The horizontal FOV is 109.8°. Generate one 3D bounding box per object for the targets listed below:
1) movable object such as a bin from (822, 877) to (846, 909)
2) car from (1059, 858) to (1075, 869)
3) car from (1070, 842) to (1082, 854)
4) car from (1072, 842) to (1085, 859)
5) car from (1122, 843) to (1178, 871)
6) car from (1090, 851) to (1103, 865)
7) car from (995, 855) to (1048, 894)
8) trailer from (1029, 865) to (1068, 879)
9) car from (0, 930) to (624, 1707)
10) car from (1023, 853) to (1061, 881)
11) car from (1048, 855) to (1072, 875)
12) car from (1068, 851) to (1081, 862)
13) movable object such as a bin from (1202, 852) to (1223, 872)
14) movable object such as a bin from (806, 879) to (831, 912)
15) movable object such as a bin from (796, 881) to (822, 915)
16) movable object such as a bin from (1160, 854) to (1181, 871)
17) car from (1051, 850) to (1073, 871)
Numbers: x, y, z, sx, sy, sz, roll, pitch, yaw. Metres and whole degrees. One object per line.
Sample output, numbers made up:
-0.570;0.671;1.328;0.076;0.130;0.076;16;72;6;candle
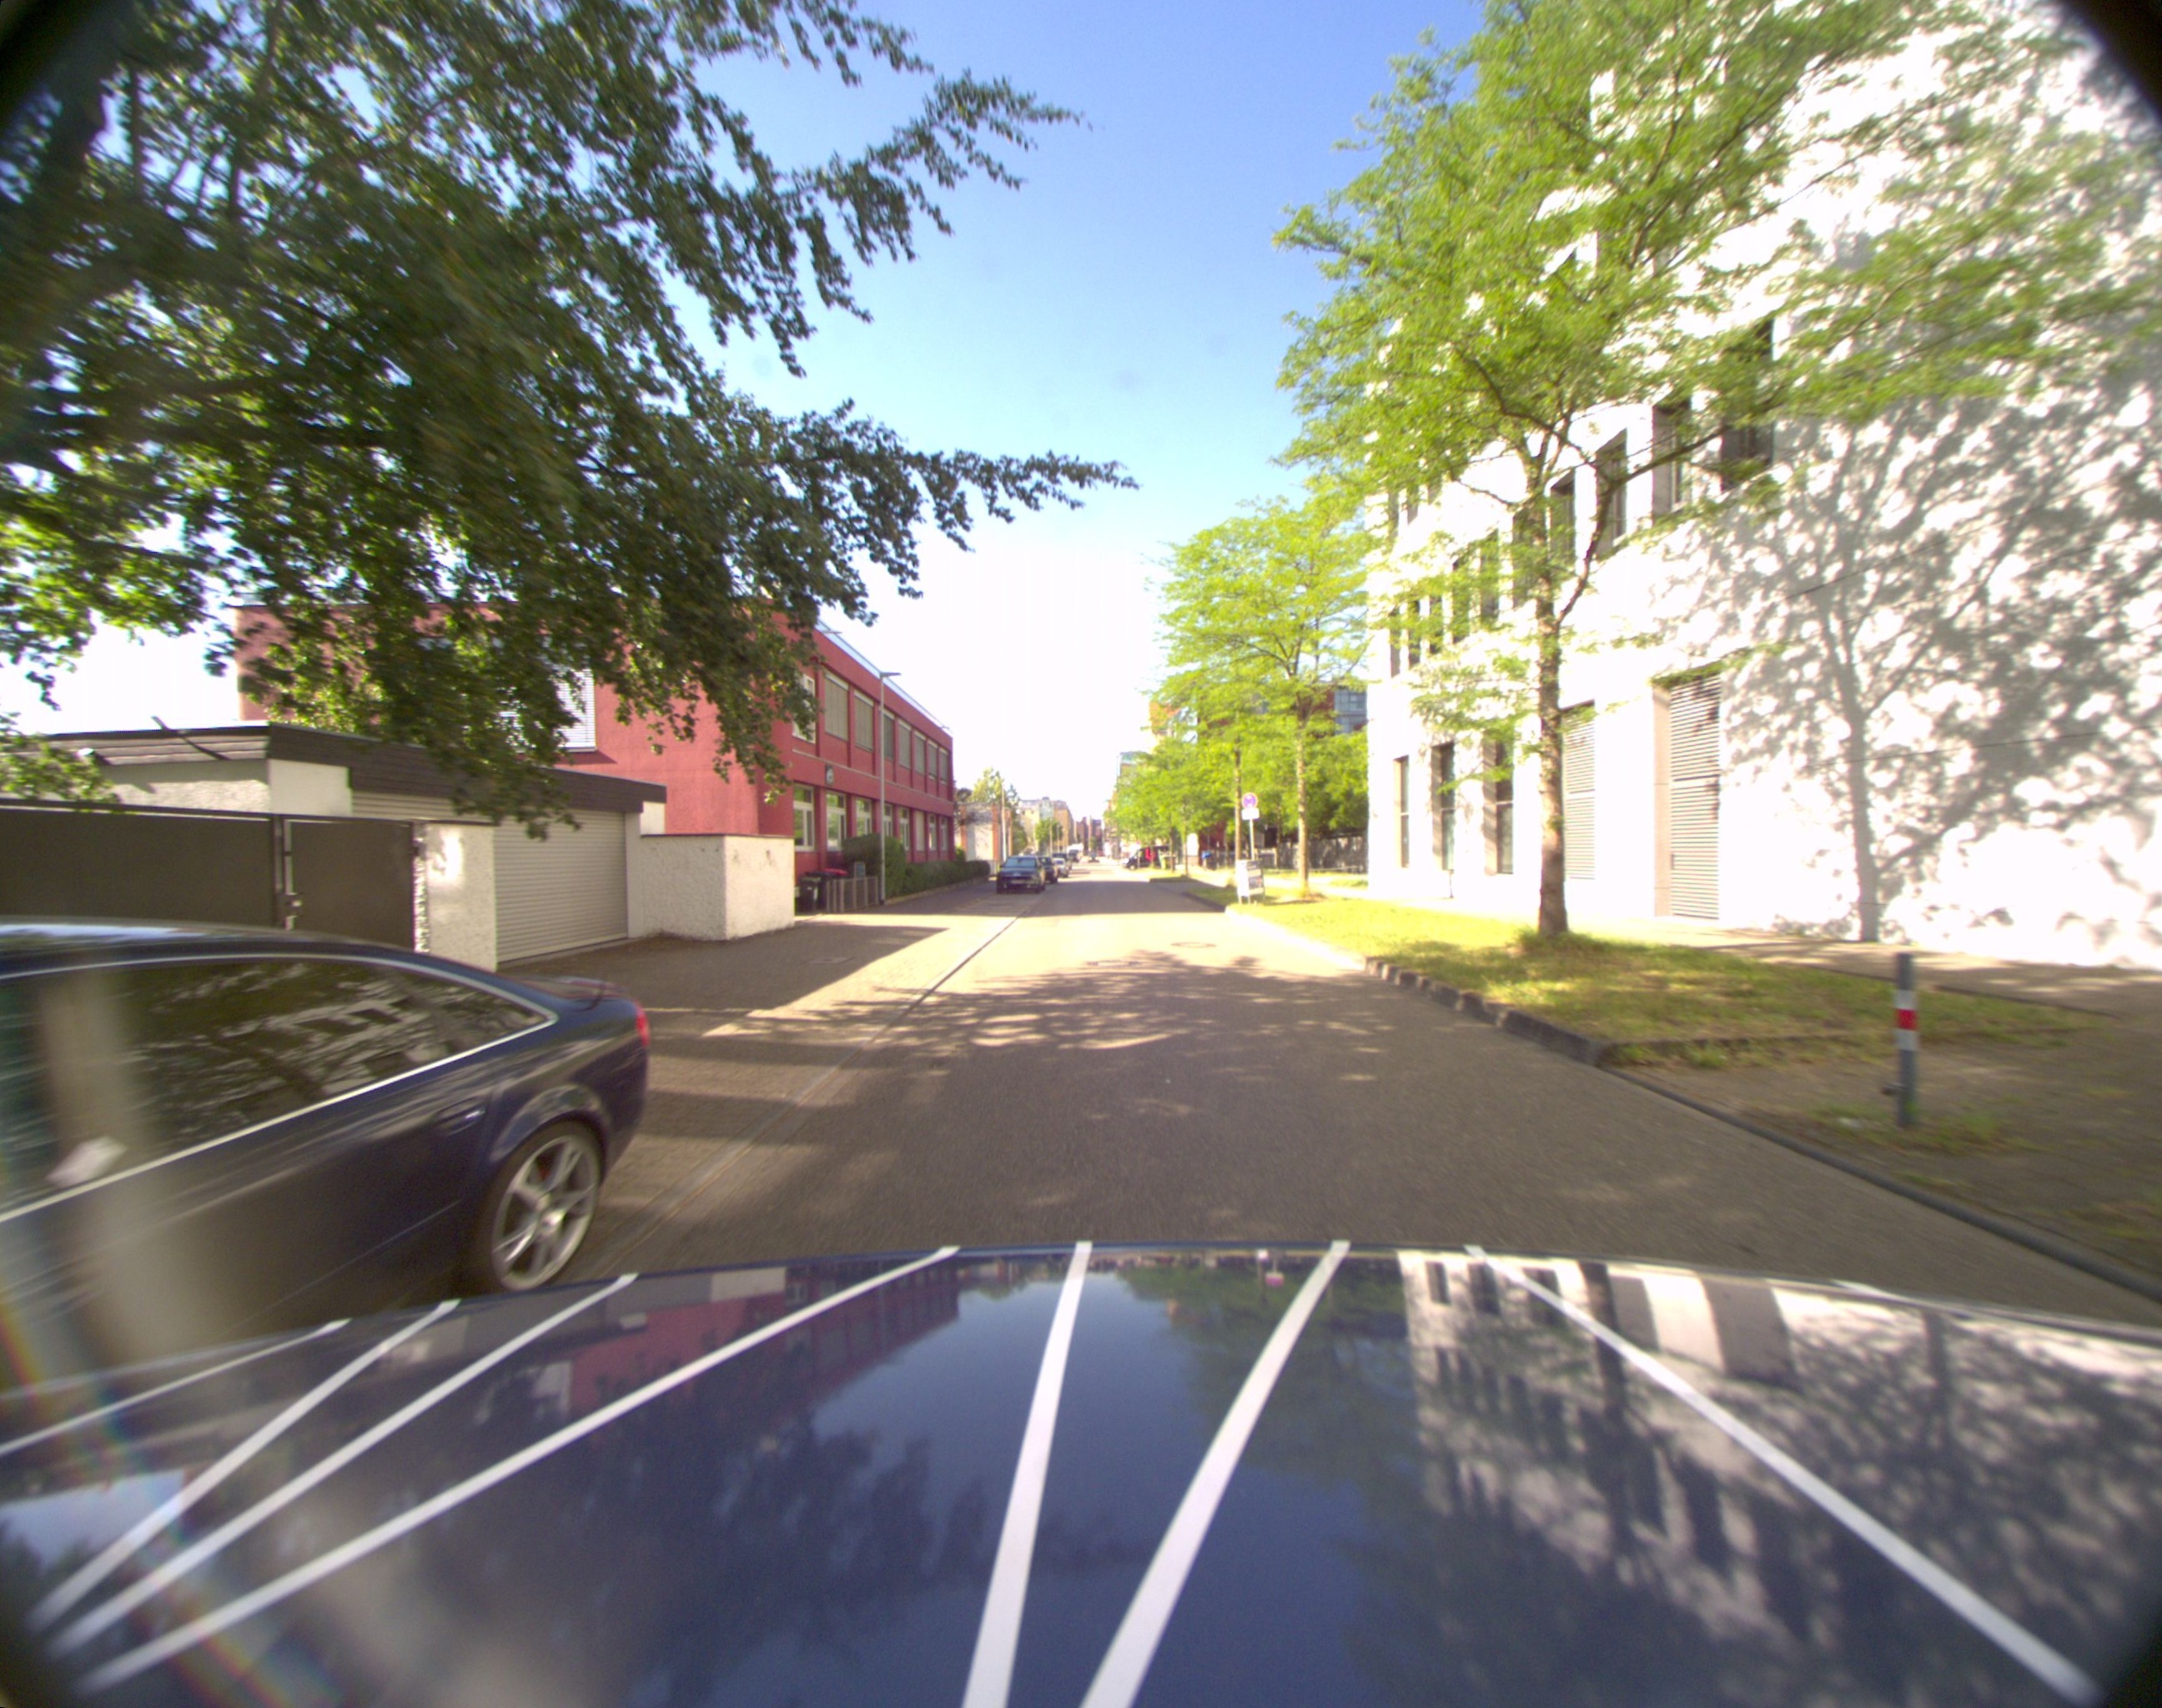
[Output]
-7.287;1.153;22.427;0.478;0.895;0.475;-2;1;2;movable object such as a bin
-1.640;1.110;91.212;1.777;1.281;4.095;0;0;2;car
-0.818;-0.952;126.585;1.903;1.974;4.372;0;0;2;car
-0.568;-0.773;177.257;2.913;3.920;6.326;0;0;2;car
7.116;0.291;78.751;5.489;2.526;1.986;-3;1;0;car
2.329;0.585;113.686;1.903;1.974;4.372;0;0;2;car
-2.566;0.845;33.907;1.903;1.620;4.372;0;0;2;car
-2.402;1.303;56.326;1.563;0.922;2.987;0;0;28;trailer
-2.909;1.038;1.082;1.830;1.415;4.283;0;0;2;car
-2.291;0.729;45.547;1.878;1.620;4.407;0;0;2;car
-1.633;0.831;59.729;1.699;1.447;3.890;0;0;2;car
-0.976;0.354;117.356;1.903;1.585;4.372;0;0;2;car
10.961;0.661;63.385;1.522;1.559;1.347;-2;0;6;movable object such as a bin
-7.405;1.159;21.448;0.478;0.895;0.475;-2;1;2;movable object such as a bin
-7.427;1.198;20.750;0.478;0.895;0.475;-2;1;2;movable object such as a bin
8.163;0.764;69.550;1.524;1.559;1.345;-2;0;-9;movable object such as a bin
-1.845;0.624;75.802;1.903;1.974;4.372;0;0;2;car
